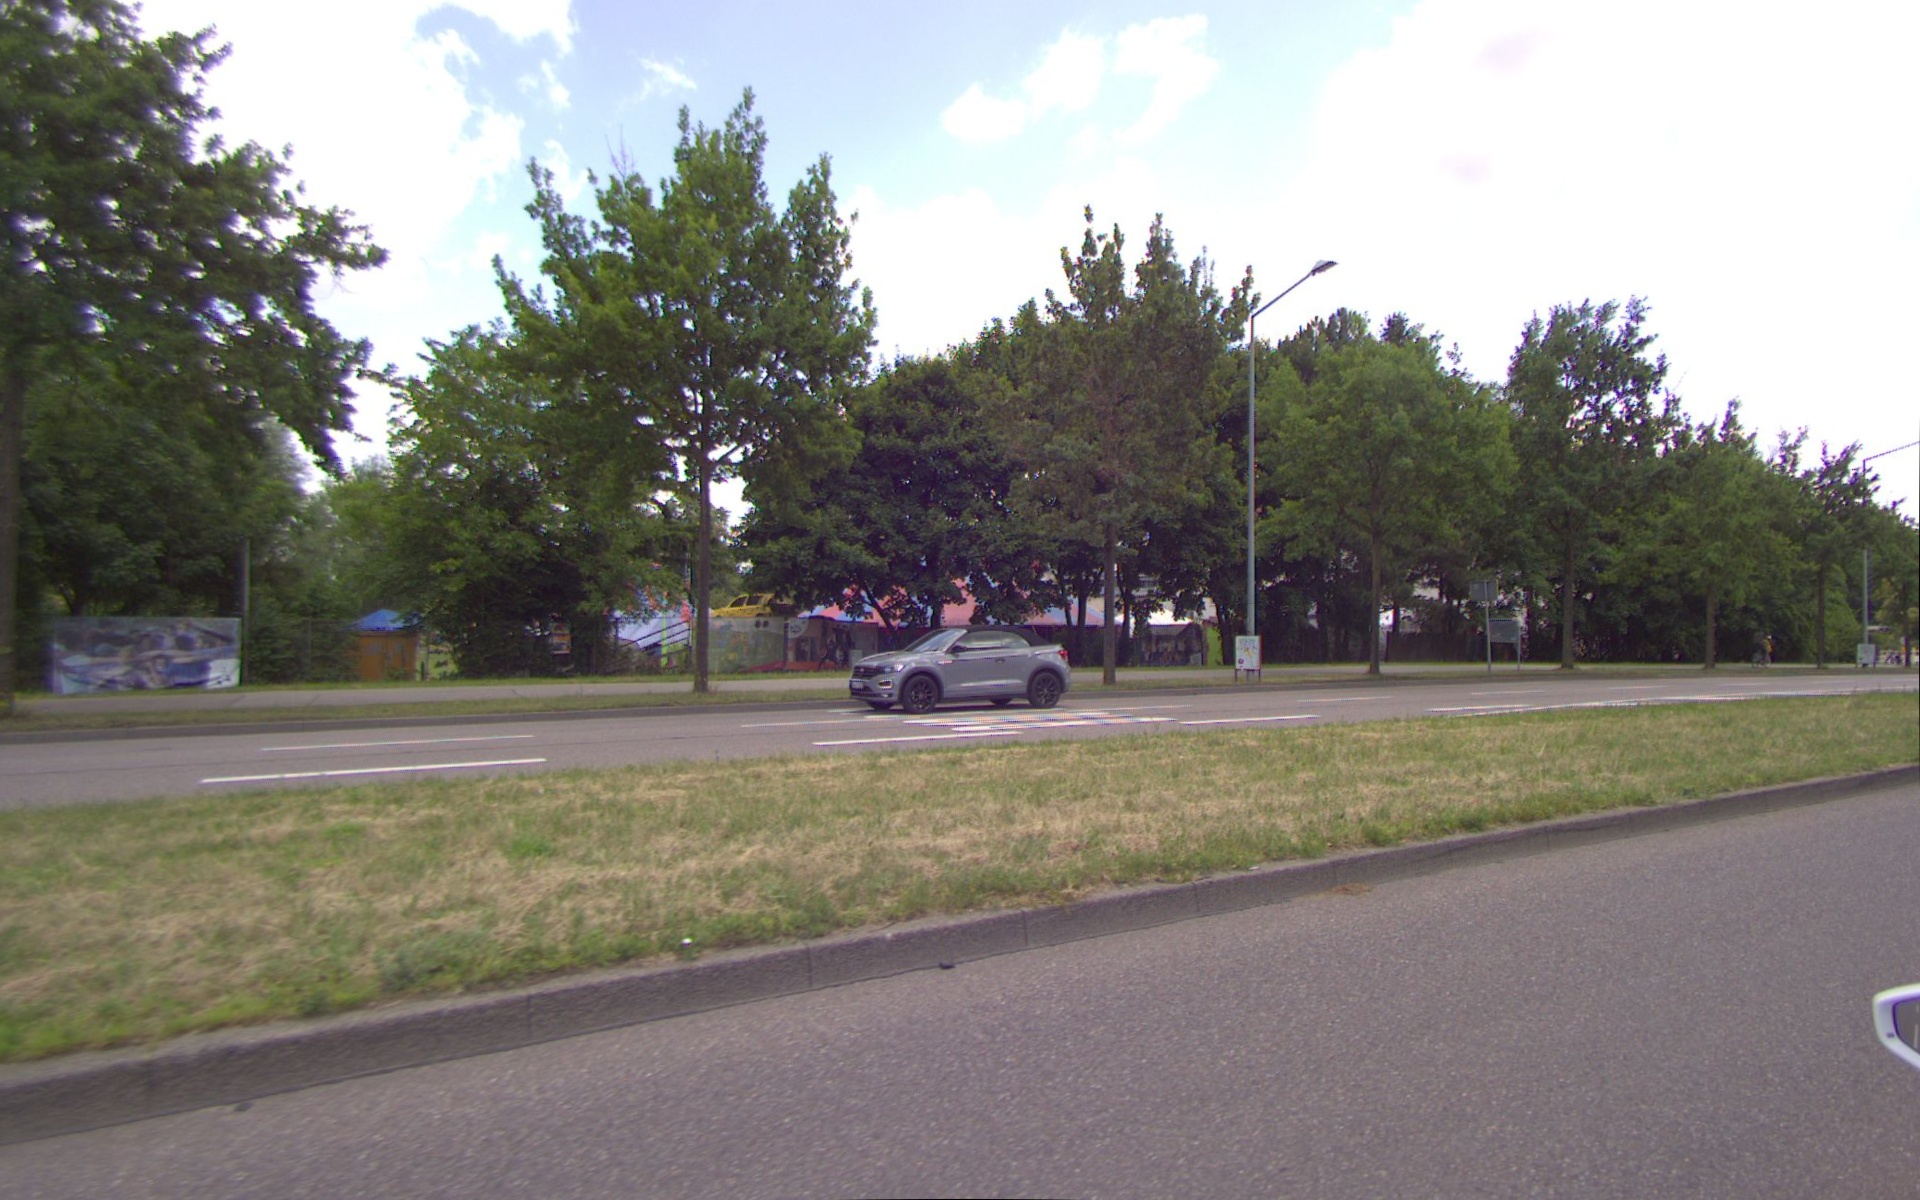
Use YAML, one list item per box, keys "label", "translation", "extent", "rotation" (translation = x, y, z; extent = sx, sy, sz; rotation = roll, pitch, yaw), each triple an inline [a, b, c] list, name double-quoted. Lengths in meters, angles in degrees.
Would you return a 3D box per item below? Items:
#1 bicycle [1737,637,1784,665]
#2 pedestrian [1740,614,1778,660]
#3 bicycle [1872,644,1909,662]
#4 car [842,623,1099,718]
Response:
- label: "bicycle"
  translation: [36.626, 2.317, 45.931]
  extent: [2.472, 1.243, 0.804]
  rotation: [1, -1, -29]
- label: "pedestrian"
  translation: [36.514, 1.690, 45.899]
  extent: [1.234, 2.040, 0.966]
  rotation: [1, -1, -29]
- label: "bicycle"
  translation: [58.662, 3.343, 63.326]
  extent: [0.867, 1.073, 2.364]
  rotation: [0, -2, 20]
- label: "car"
  translation: [0.244, 1.242, 18.557]
  extent: [4.521, 1.566, 1.733]
  rotation: [1, -3, -31]
